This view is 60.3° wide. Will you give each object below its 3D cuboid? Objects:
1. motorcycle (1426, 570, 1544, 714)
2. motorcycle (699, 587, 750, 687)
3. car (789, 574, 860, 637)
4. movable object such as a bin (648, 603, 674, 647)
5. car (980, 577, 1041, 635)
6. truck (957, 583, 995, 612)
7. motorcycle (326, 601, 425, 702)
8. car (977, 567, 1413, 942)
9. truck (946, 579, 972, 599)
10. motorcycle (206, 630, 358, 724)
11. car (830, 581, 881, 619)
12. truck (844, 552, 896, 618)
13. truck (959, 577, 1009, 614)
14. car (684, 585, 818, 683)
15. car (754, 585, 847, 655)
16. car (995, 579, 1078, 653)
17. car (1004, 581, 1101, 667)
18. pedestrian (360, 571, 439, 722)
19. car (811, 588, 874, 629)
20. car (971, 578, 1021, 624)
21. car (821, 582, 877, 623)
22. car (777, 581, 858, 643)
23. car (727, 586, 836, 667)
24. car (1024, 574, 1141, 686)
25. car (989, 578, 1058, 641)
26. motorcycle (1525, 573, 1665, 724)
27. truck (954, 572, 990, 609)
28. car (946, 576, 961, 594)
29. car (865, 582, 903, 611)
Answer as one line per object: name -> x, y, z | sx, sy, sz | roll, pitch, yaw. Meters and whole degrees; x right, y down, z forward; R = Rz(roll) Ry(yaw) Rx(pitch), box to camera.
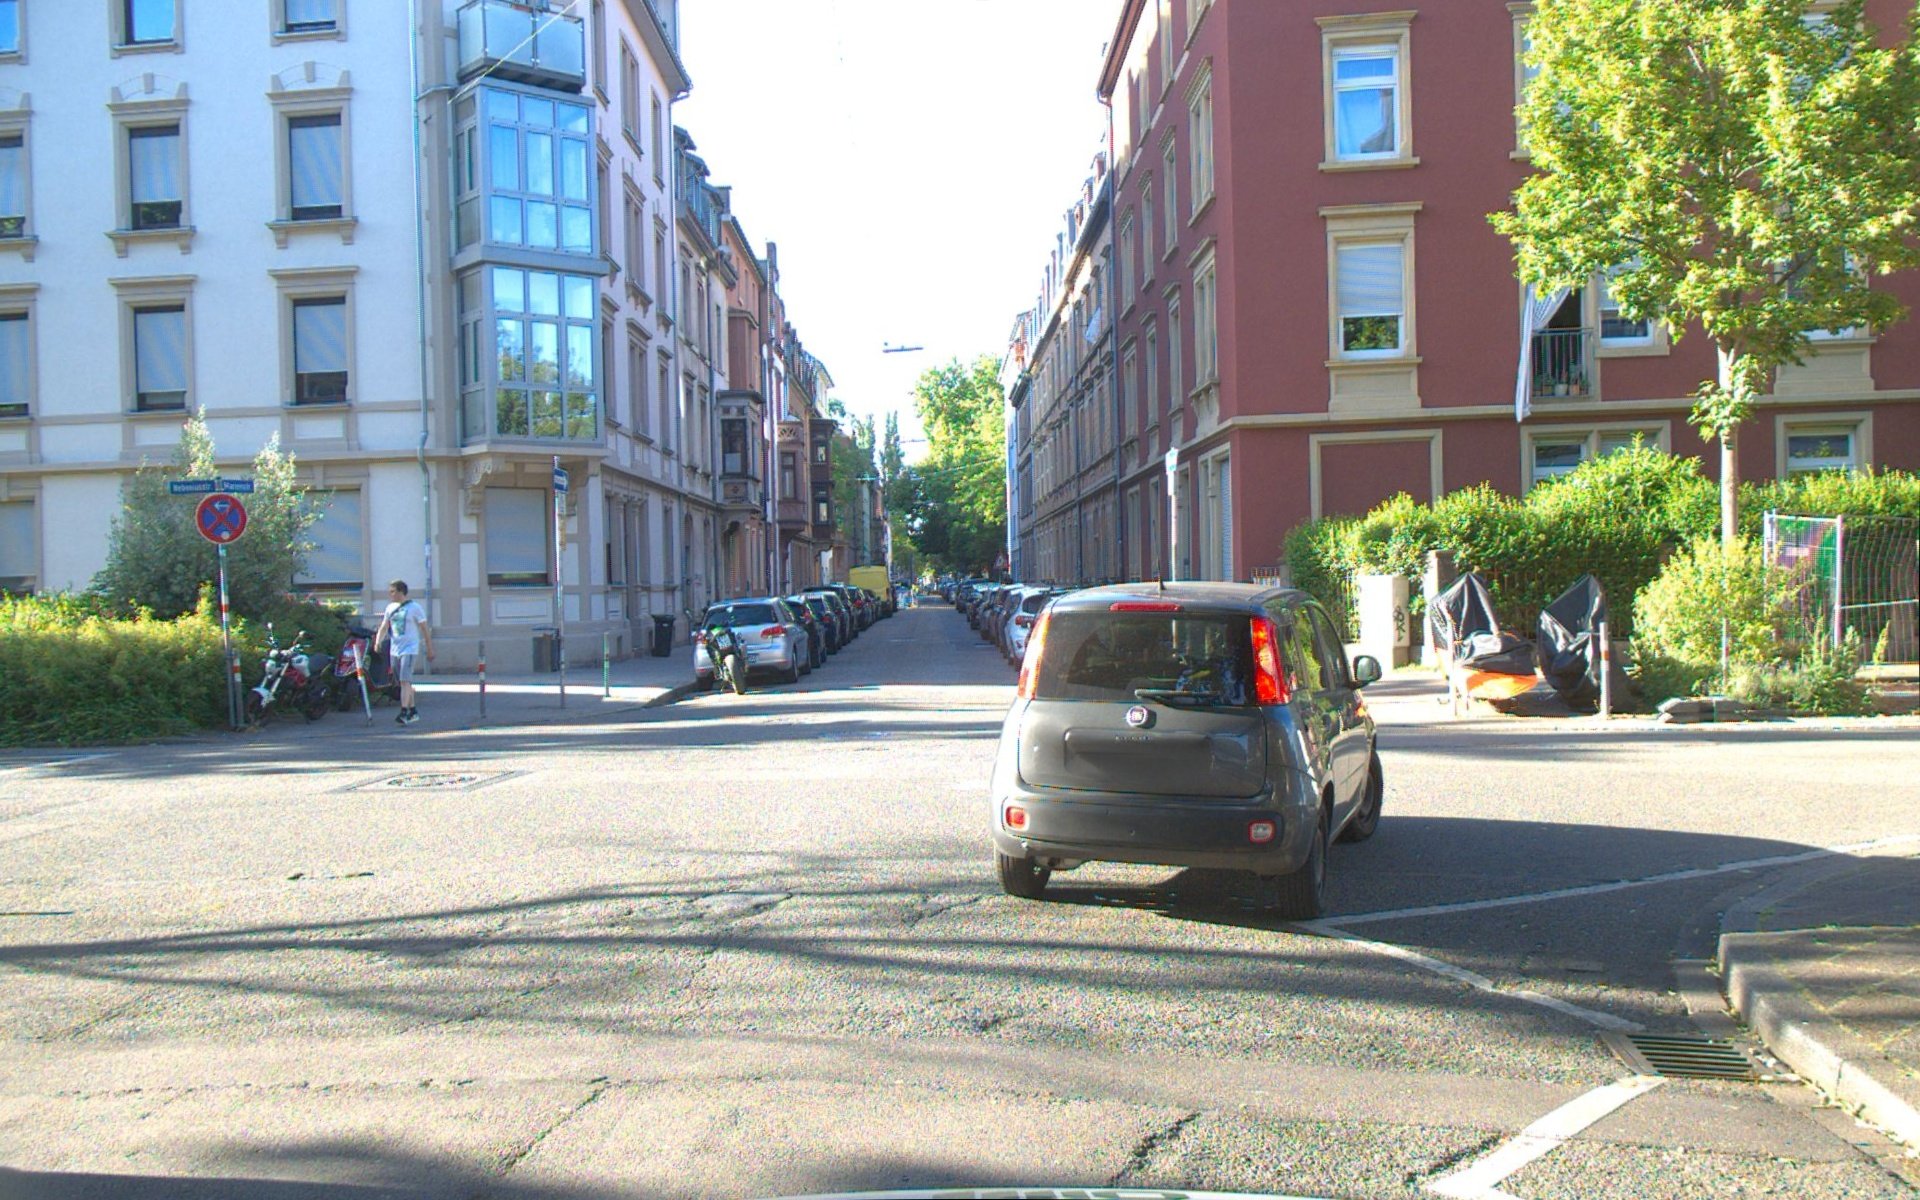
motorcycle -> 5.852, 0.428, 18.553 | 0.998, 1.428, 2.195 | -1, 3, 11
motorcycle -> -3.717, 0.557, 26.061 | 0.684, 1.486, 1.747 | -2, 1, -10
car -> -4.122, 0.149, 50.914 | 1.739, 1.728, 3.925 | -5, 1, 0
movable object such as a bin -> -6.719, 0.551, 37.191 | 0.501, 0.969, 0.501 | -1, 0, -4
car -> 1.404, 0.137, 47.083 | 1.629, 1.559, 3.757 | 0, 1, 0
truck -> 0.832, -0.173, 90.385 | 1.953, 1.482, 3.999 | -1, 1, -1
motorcycle -> -8.041, 0.686, 22.819 | 0.507, 1.316, 1.613 | 0, 1, 13
car -> 1.422, 0.627, 8.884 | 1.599, 1.577, 3.265 | 1, 2, 21
truck -> -0.124, -0.898, 129.940 | 1.953, 1.482, 3.999 | -1, 1, -1
motorcycle -> -8.355, 0.925, 20.461 | 0.675, 1.002, 1.822 | 3, 2, 19
car -> -4.698, -0.019, 74.857 | 1.922, 1.504, 3.925 | -5, 1, 0
truck -> -4.421, -0.743, 81.958 | 2.029, 2.976, 5.068 | -5, 1, 0
truck -> 0.981, -0.204, 69.438 | 1.953, 1.482, 3.999 | -1, 1, -1
car -> -3.631, 0.543, 29.361 | 1.760, 1.456, 3.925 | -5, 1, 0
car -> -3.860, 0.449, 40.660 | 1.788, 1.492, 3.925 | -5, 1, 0
car -> 1.622, 0.311, 36.094 | 1.629, 1.531, 3.757 | 0, 1, 0
car -> 1.705, 0.406, 31.497 | 1.629, 1.531, 3.757 | 0, 1, 0
pedestrian -> -7.029, 0.570, 20.764 | 0.707, 1.871, 0.627 | 0, 1, 10
car -> -4.232, 0.291, 60.203 | 1.922, 1.245, 3.925 | -5, 1, 0
car -> 1.185, 0.004, 56.165 | 1.629, 1.531, 3.757 | 0, 1, 0
car -> -4.530, 0.079, 67.850 | 1.922, 1.504, 3.925 | -5, 1, 0
car -> -3.902, 0.289, 45.761 | 1.791, 1.504, 3.925 | -5, 1, 0
car -> -3.653, 0.497, 34.447 | 1.741, 1.437, 3.925 | -5, 1, 0
car -> 1.935, 0.434, 27.007 | 1.629, 1.698, 3.757 | 0, 1, 0
car -> 1.597, 0.216, 42.496 | 1.629, 1.531, 3.757 | 0, 1, 0
motorcycle -> 6.827, 0.469, 17.923 | 0.809, 1.428, 2.559 | -1, 2, 7
truck -> 0.699, -0.558, 95.761 | 1.953, 2.026, 3.999 | -1, 1, -1
car -> -0.553, -1.367, 150.937 | 1.339, 1.646, 3.413 | -1, 1, 0
car -> -4.445, -0.229, 97.227 | 1.922, 1.504, 3.925 | -5, 1, 0
